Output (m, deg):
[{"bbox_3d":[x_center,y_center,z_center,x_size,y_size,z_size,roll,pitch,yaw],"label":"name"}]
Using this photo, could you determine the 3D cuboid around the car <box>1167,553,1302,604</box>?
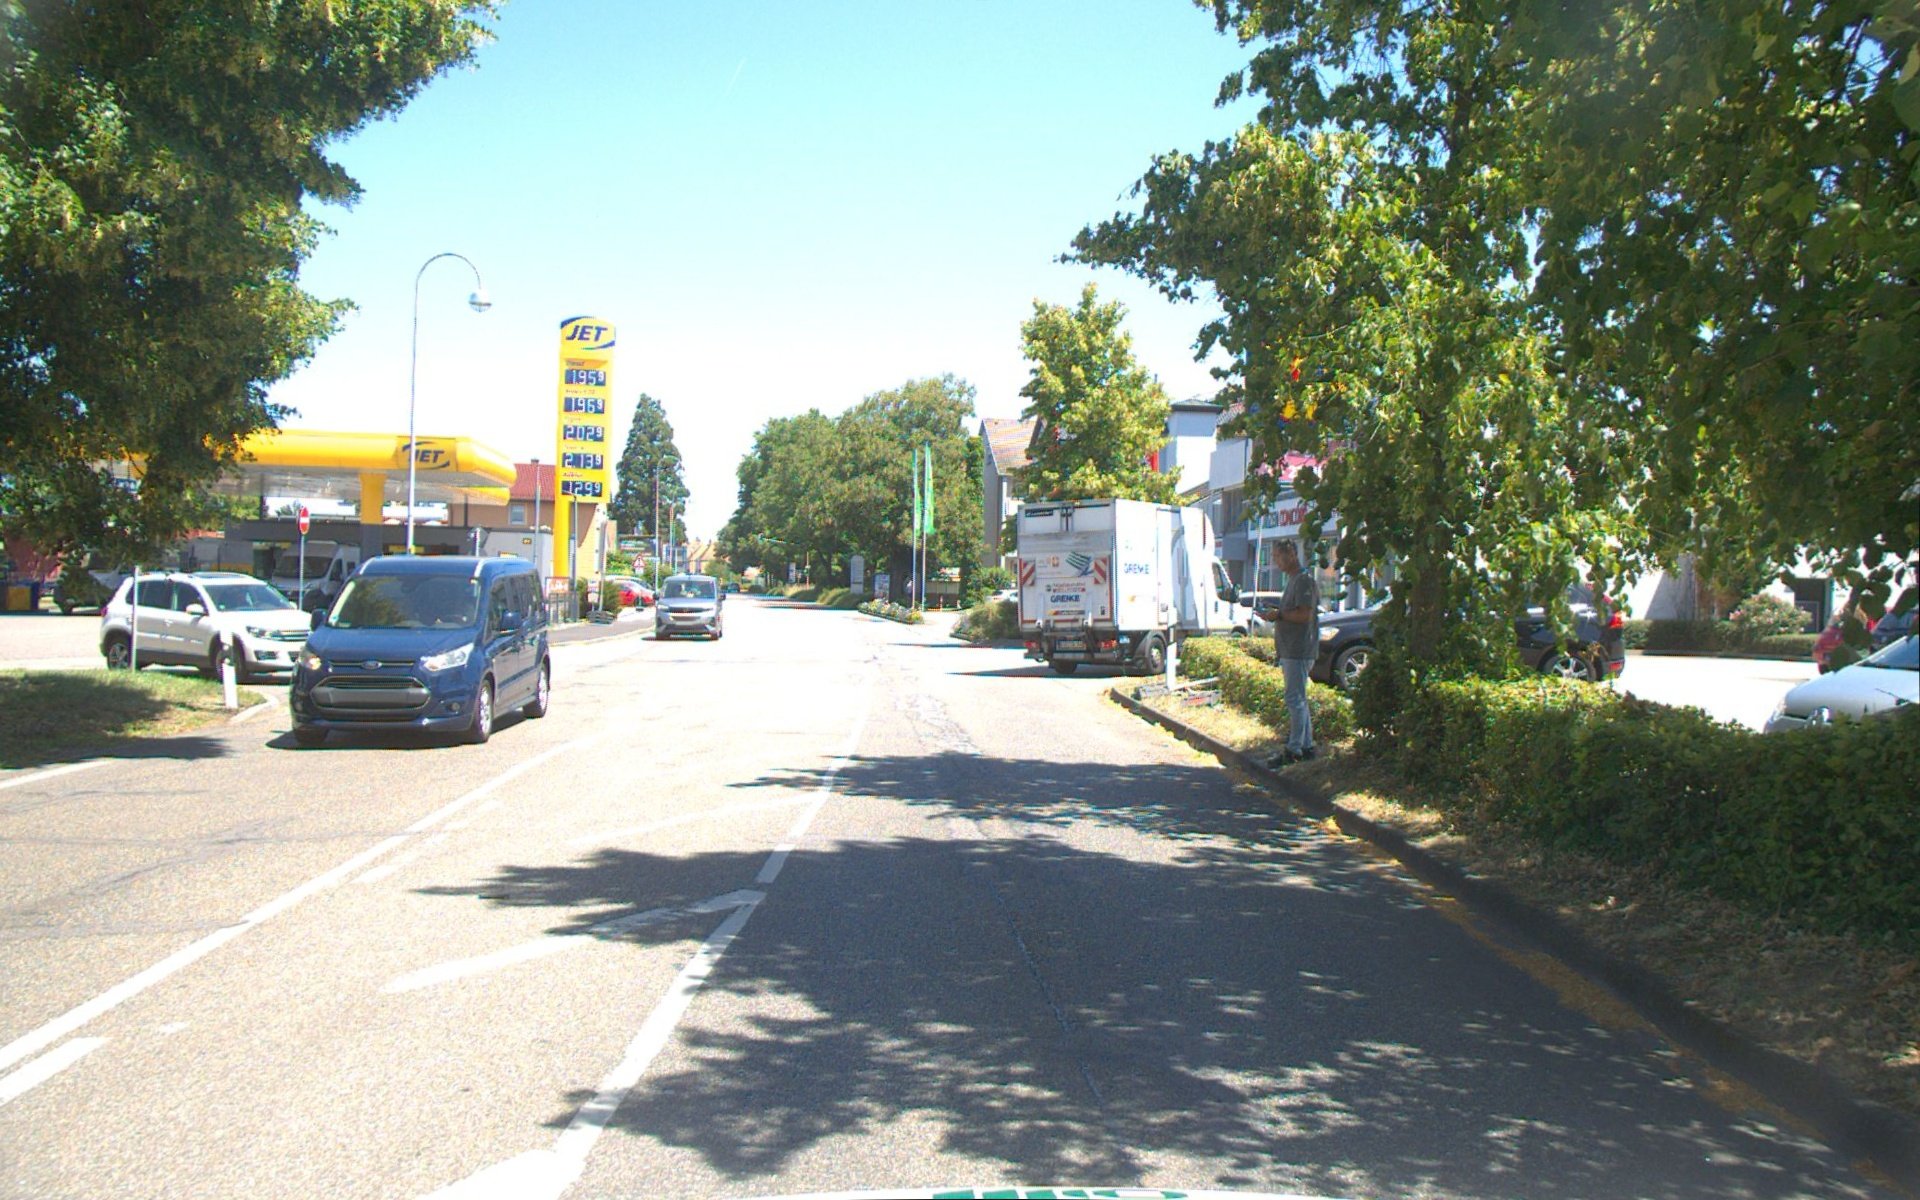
[{"bbox_3d":[9.418,-0.730,56.707,4.483,1.670,2.002,1,0,11],"label":"car"}]

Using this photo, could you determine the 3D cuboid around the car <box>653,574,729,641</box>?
[{"bbox_3d":[-7.626,0.160,47.186,1.760,1.803,4.361,1,1,-4],"label":"car"}]

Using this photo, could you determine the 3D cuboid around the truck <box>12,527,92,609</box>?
[{"bbox_3d":[-37.651,-1.337,68.661,1.811,3.298,3.184,1,1,-8],"label":"truck"}]

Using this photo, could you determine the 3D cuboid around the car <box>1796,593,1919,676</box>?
[{"bbox_3d":[18.988,0.712,32.980,3.913,1.558,1.648,2,0,-9],"label":"car"}]

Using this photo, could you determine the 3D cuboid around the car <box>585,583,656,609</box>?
[{"bbox_3d":[-20.318,-0.247,98.988,4.049,1.469,1.823,1,0,-9],"label":"car"}]

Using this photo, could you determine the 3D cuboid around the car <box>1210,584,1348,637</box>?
[{"bbox_3d":[9.407,0.302,49.007,3.902,1.486,1.807,1,0,7],"label":"car"}]

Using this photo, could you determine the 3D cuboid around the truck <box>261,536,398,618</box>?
[{"bbox_3d":[-21.800,-0.765,57.550,2.188,2.644,6.731,1,0,0],"label":"truck"}]

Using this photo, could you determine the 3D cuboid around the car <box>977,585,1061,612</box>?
[{"bbox_3d":[3.242,-0.070,90.543,4.300,1.395,1.935,1,0,-31],"label":"car"}]

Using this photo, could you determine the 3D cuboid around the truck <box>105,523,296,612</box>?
[{"bbox_3d":[-26.856,-1.080,58.886,2.583,2.964,6.737,1,0,12],"label":"truck"}]

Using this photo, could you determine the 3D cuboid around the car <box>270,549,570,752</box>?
[{"bbox_3d":[-5.432,0.431,17.313,1.787,1.812,4.779,-1,1,-3],"label":"car"}]

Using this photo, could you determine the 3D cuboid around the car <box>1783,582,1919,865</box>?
[{"bbox_3d":[6.866,0.692,9.694,3.332,1.532,1.580,1,1,-6],"label":"car"}]

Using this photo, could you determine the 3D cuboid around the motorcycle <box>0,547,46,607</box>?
[{"bbox_3d":[-33.131,-0.789,57.613,0.819,2.049,2.795,1,0,4],"label":"motorcycle"}]

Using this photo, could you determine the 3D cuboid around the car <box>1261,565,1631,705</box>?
[{"bbox_3d":[6.462,0.445,22.344,4.421,1.696,1.894,1,0,0],"label":"car"}]

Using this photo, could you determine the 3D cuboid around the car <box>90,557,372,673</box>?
[{"bbox_3d":[-11.702,0.194,26.523,4.152,1.701,1.973,1,1,27],"label":"car"}]

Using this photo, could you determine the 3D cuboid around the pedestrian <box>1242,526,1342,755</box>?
[{"bbox_3d":[2.713,0.319,13.566,0.714,1.820,0.621,1,0,5],"label":"pedestrian"}]

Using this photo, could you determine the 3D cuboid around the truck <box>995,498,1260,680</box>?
[{"bbox_3d":[3.228,-0.233,30.422,2.372,3.000,5.936,1,1,33],"label":"truck"}]

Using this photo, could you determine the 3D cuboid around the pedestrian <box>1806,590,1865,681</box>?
[{"bbox_3d":[15.876,0.638,30.013,0.664,1.619,0.706,1,0,-3],"label":"pedestrian"}]
